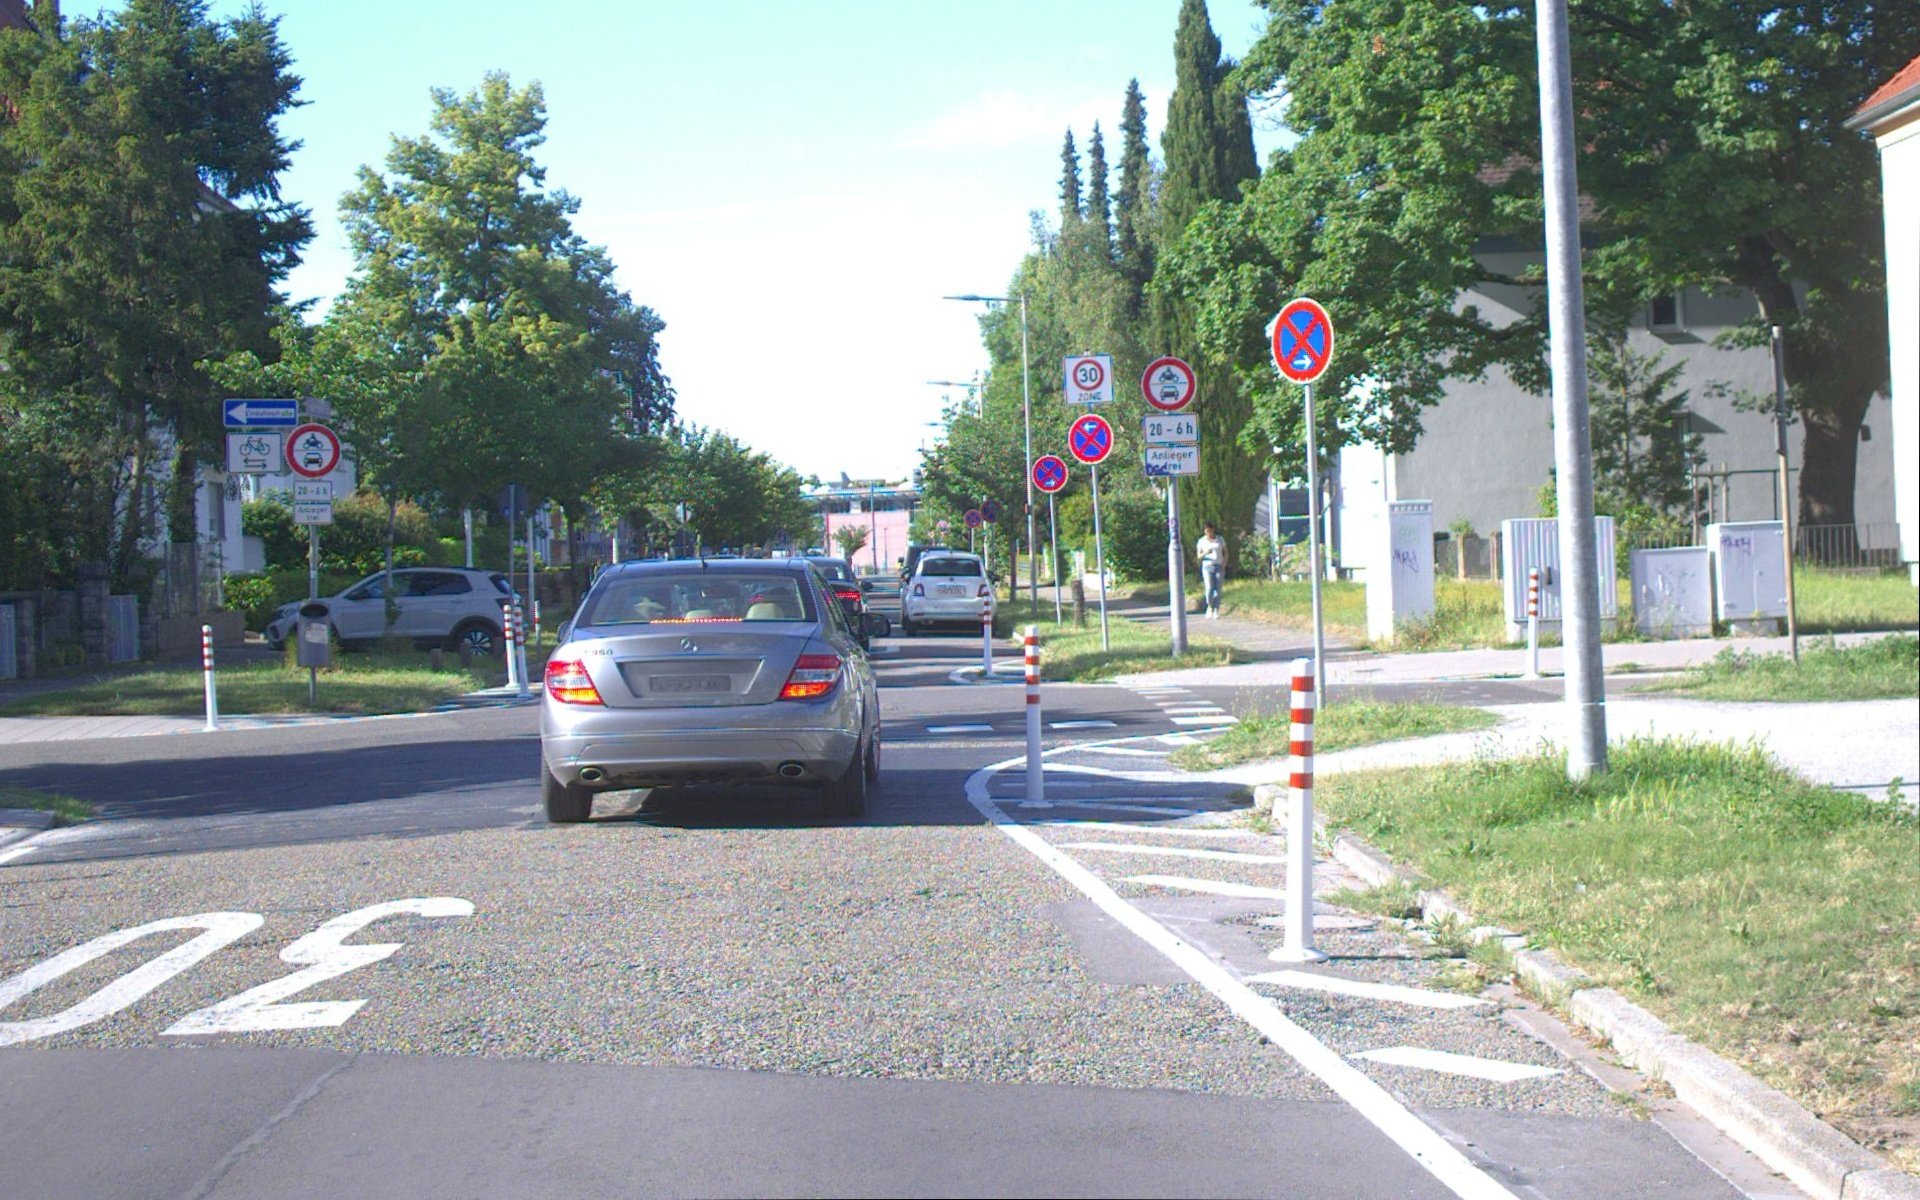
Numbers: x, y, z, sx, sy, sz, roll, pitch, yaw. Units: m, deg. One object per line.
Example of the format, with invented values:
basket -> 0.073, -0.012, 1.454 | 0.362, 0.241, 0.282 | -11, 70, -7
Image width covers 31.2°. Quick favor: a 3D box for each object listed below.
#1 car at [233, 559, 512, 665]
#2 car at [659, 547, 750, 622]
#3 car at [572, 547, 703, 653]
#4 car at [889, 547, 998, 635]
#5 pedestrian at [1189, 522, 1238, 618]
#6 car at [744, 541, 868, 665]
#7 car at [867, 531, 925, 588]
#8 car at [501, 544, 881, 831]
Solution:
car -> -9.361, 0.177, 55.044 | 4.191, 1.558, 1.842 | -2, 1, -4
car -> -6.200, -0.399, 83.702 | 1.993, 1.604, 4.001 | -6, 1, -3
car -> -5.613, -0.033, 60.271 | 1.993, 1.604, 4.001 | -6, 1, -3
car -> -0.330, -0.189, 62.670 | 1.733, 1.474, 3.726 | -3, 1, -3
pedestrian -> 4.346, -0.520, 58.967 | 0.766, 1.605, 0.834 | -2, 1, 4
car -> -2.172, 0.013, 48.130 | 1.597, 1.604, 3.644 | -3, 1, -3
car -> -2.218, -1.397, 118.501 | 1.854, 1.835, 4.000 | -3, 1, -2
car -> -1.435, 0.424, 19.763 | 1.836, 1.436, 4.000 | -2, 1, 0
